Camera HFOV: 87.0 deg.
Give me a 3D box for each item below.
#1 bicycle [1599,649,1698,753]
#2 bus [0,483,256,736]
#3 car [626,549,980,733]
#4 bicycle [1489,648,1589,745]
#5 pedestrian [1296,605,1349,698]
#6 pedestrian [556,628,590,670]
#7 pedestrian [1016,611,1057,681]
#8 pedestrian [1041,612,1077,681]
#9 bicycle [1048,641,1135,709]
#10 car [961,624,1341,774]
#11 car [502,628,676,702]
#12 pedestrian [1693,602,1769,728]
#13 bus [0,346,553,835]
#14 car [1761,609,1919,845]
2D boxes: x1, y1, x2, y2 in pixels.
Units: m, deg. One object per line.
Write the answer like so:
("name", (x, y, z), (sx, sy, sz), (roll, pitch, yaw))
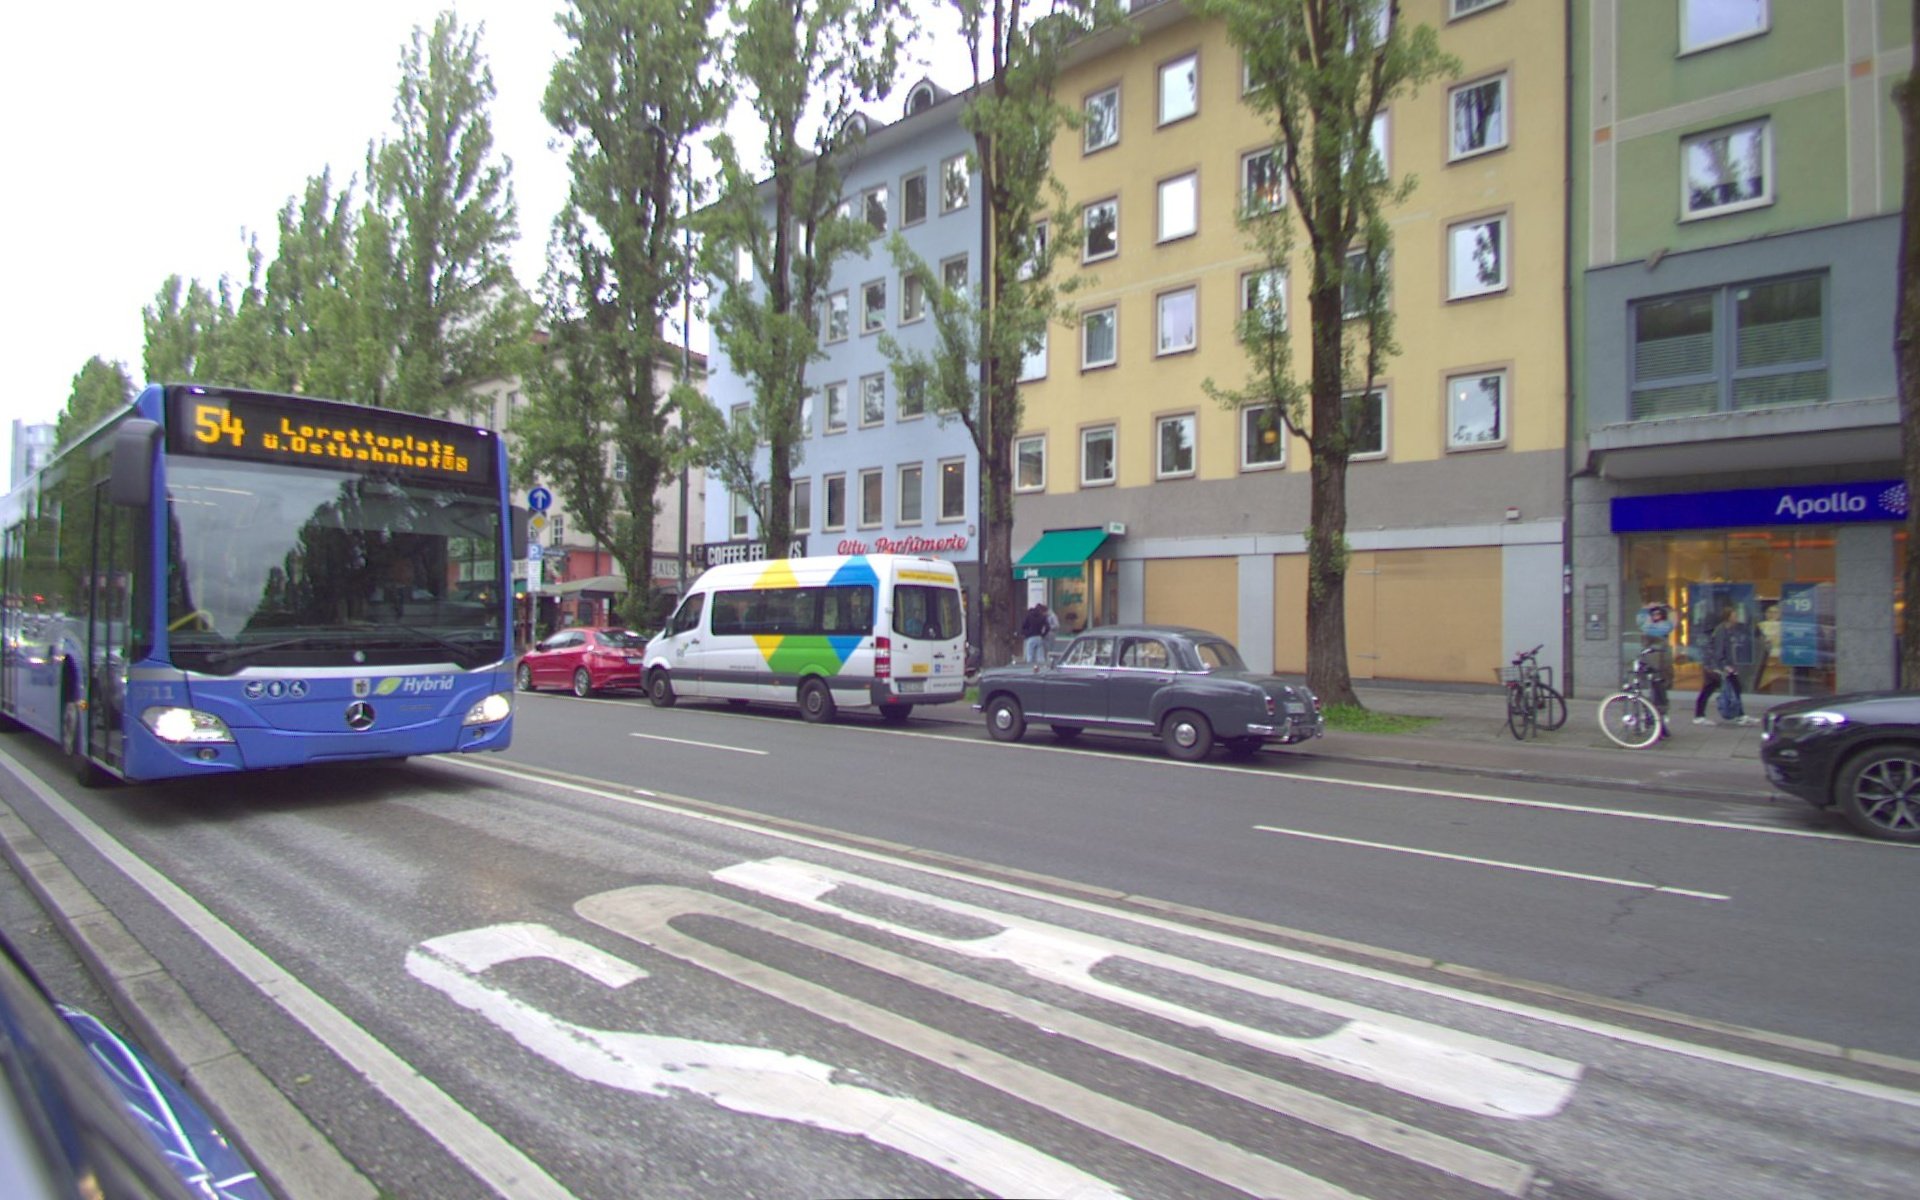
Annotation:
("bicycle", (8.713, 1.229, 12.781), (0.719, 1.103, 1.848), (-1, 0, 44))
("bus", (-14.284, 0.200, 16.110), (10.047, 2.972, 2.655), (-1, -2, 41))
("car", (-2.942, 0.670, 17.278), (6.909, 2.587, 1.984), (-1, -4, 41))
("bicycle", (7.781, 1.250, 13.564), (0.719, 1.103, 1.848), (-1, 0, 44))
("pedestrian", (6.794, 0.949, 18.964), (0.675, 1.698, 0.748), (0, -2, 42))
("pedestrian", (-13.006, 1.645, 34.002), (0.950, 1.373, 0.690), (-1, -3, 44))
("pedestrian", (1.816, 1.087, 24.072), (0.688, 1.648, 0.729), (1, -2, -25))
("pedestrian", (2.390, 1.114, 24.454), (0.688, 1.648, 0.566), (1, -2, -23))
("bicycle", (2.484, 1.380, 18.953), (0.622, 1.103, 1.848), (-1, 0, 44))
("car", (2.275, 1.117, 12.794), (4.412, 1.564, 1.846), (-1, -4, 41))
("car", (-8.062, 1.361, 21.828), (4.146, 1.430, 1.719), (-1, -4, 41))
("pedestrian", (10.845, 0.894, 14.234), (0.785, 1.698, 0.748), (0, -2, 43))
("bus", (-7.923, 0.035, 10.499), (10.049, 2.972, 2.661), (-1, -2, 42))
("car", (8.512, 0.926, 6.967), (4.609, 1.677, 1.846), (-1, -4, 41))
